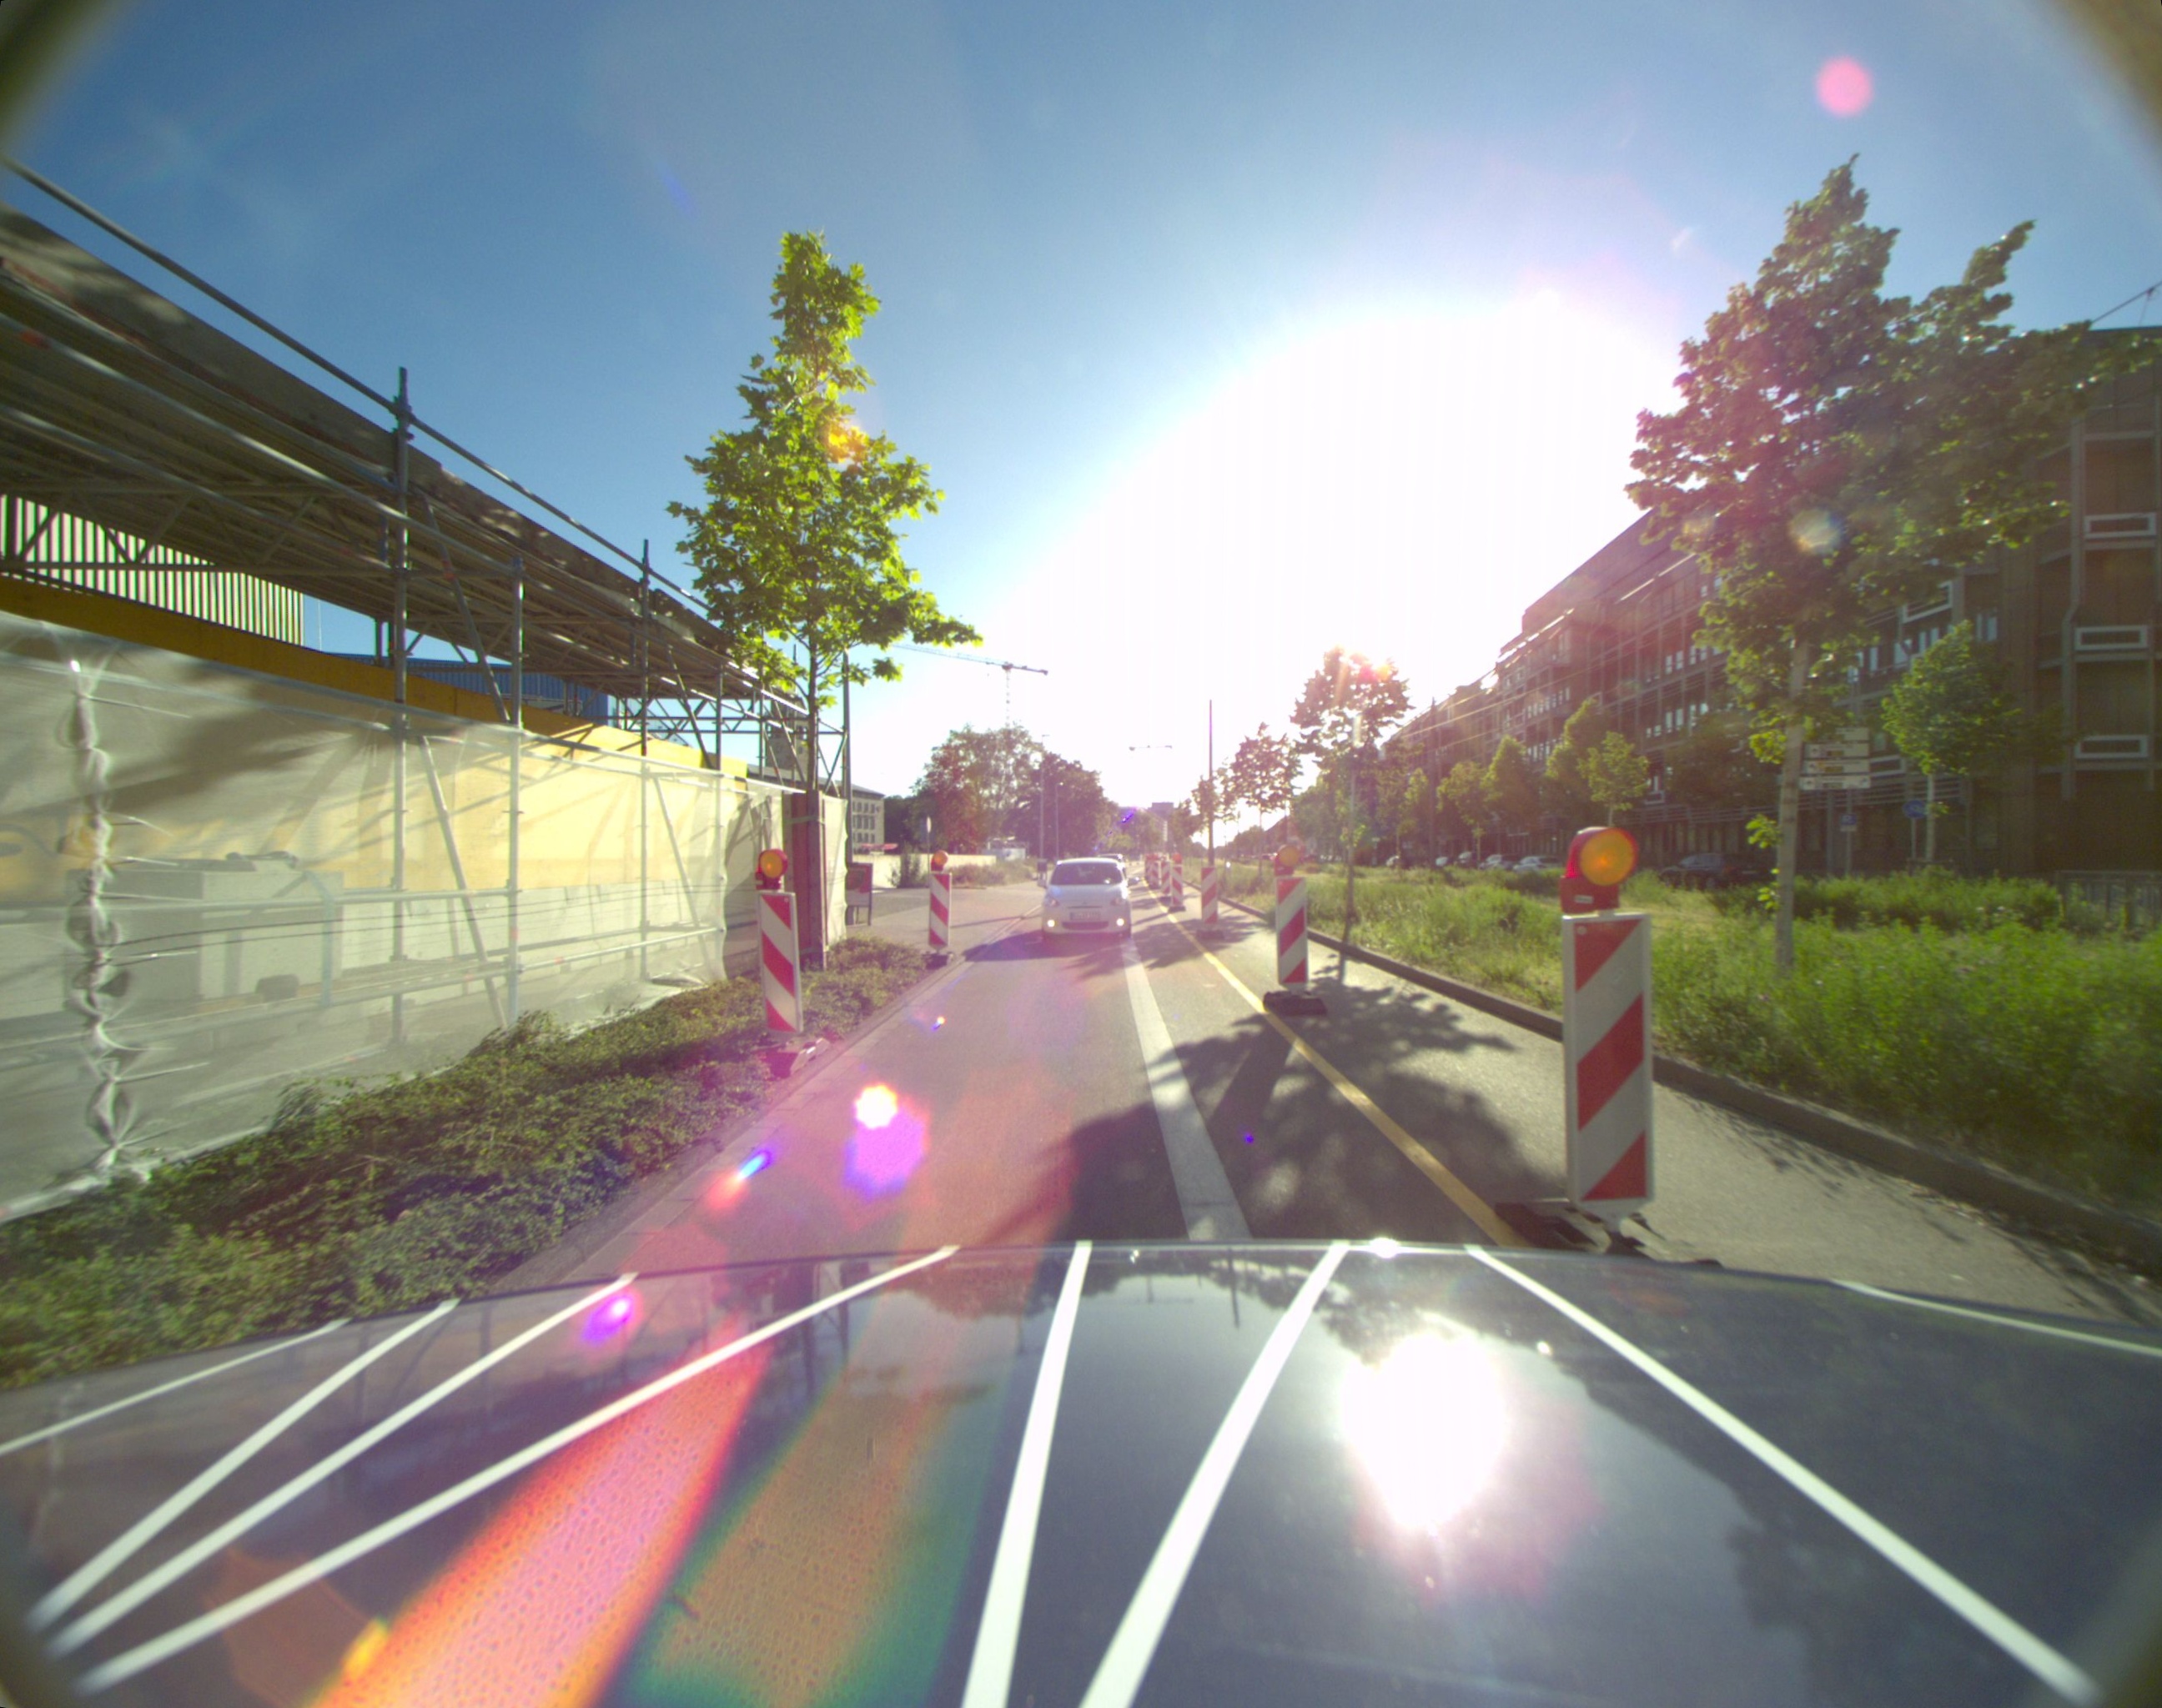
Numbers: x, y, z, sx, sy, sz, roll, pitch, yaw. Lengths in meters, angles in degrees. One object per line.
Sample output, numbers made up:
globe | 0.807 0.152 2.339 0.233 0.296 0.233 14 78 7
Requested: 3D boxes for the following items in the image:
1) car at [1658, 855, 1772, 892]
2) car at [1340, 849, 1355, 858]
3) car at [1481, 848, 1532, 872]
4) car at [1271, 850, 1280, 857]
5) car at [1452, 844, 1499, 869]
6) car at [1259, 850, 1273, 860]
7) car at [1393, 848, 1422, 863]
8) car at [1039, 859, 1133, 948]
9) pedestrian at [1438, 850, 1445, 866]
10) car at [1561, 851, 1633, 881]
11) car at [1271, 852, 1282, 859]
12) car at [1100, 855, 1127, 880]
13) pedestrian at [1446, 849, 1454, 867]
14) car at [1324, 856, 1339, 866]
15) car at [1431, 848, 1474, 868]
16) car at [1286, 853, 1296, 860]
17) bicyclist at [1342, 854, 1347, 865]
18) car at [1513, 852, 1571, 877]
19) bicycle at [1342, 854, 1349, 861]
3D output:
car | 26.634 0.784 32.087 1.734 1.453 3.901 0 0 4
car | 43.536 -0.091 124.174 1.725 1.535 3.633 -2 0 8
car | 28.755 0.403 51.459 1.741 1.527 3.887 -1 0 8
car | 45.274 -0.068 177.061 1.864 1.671 3.782 0 0 10
car | 29.305 0.202 56.563 1.754 1.761 4.334 -2 0 8
car | 32.964 0.138 135.453 1.731 1.736 4.123 -1 0 6
car | 32.959 0.131 76.795 1.719 1.379 4.042 0 0 10
car | 0.198 0.880 14.940 1.614 1.488 3.395 -2 0 4
pedestrian | 35.695 0.404 75.315 0.521 1.569 0.537 0 1 12
car | 27.634 0.610 40.820 1.652 1.545 3.969 -1 0 8
car | 41.418 0.365 161.092 1.631 1.487 3.781 0 0 6
car | 1.921 0.775 45.240 1.459 1.472 3.527 0 0 0
pedestrian | 36.515 0.396 75.194 0.521 1.712 0.537 0 1 12
car | 44.368 1.215 134.613 1.725 1.592 3.635 -2 -3 8
car | 30.262 0.324 62.027 1.733 1.460 4.507 -2 0 7
car | 44.402 0.461 161.033 1.630 1.487 4.420 0 0 10
bicyclist | 35.321 0.737 101.872 0.566 1.449 0.706 1 0 7
car | 27.973 0.599 46.226 1.628 1.433 3.821 -2 0 8
bicycle | 35.242 0.450 101.168 0.566 0.872 1.772 1 0 7
